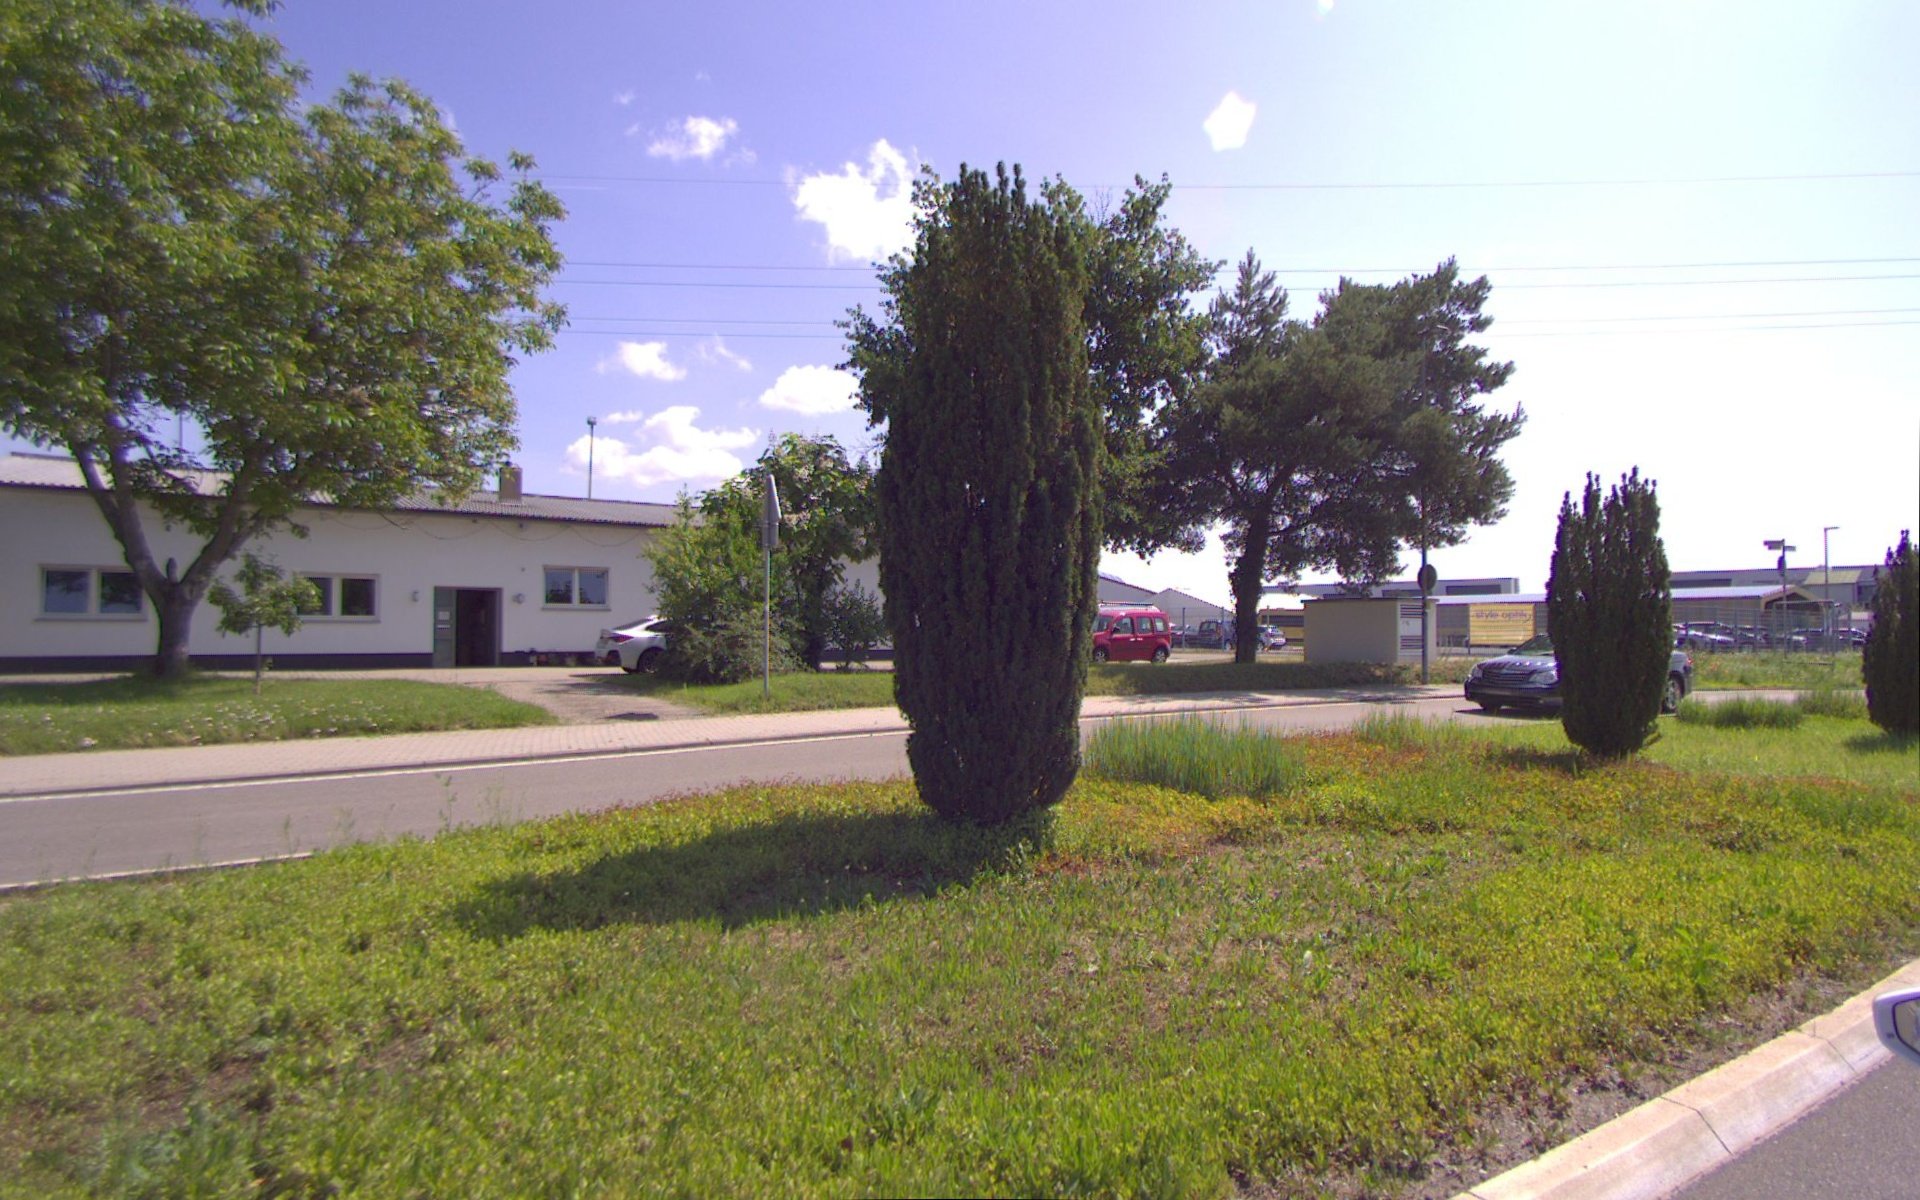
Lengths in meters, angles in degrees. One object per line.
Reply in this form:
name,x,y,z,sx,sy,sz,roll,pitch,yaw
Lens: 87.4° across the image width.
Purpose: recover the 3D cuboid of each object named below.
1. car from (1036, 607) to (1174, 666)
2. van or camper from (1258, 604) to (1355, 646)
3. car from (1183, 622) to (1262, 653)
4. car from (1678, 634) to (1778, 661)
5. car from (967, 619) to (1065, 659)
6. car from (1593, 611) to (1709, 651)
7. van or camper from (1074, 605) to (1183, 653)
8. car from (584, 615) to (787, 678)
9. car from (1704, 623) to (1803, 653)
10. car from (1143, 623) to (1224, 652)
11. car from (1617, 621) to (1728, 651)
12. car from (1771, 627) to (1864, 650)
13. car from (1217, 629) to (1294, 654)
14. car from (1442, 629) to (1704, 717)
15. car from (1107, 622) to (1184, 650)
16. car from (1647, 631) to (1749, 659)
car,4.678,1.166,32.177,4.187,1.767,1.981,2,-2,-35
van or camper,20.623,1.481,59.897,5.243,2.406,1.892,-1,-2,28
car,13.110,1.852,50.084,3.966,1.452,1.904,1,-2,-39
car,40.385,2.490,52.944,3.929,1.327,1.939,-1,-2,30
car,2.258,1.568,41.300,1.919,1.545,3.957,1,-2,-38
car,30.588,1.384,44.605,4.034,1.727,1.721,-1,-2,28
van or camper,9.780,1.680,58.024,6.698,2.634,1.982,1,-2,-34
car,-6.791,1.144,25.044,4.474,1.426,1.980,2,-2,-36
car,43.397,2.048,55.035,3.927,1.560,1.940,0,-1,28
car,11.659,1.962,52.324,3.958,1.452,1.908,1,-2,-33
car,32.920,1.662,46.540,3.927,1.327,1.940,-1,-2,28
car,51.657,2.285,60.583,3.927,1.327,1.940,0,-1,28
car,16.807,2.348,57.348,1.977,1.327,3.967,1,-2,-31
car,11.126,1.252,18.172,4.804,1.412,1.892,1,-2,-28
car,10.090,1.958,54.637,3.958,1.452,1.908,1,-2,-33
car,37.513,2.287,51.194,3.927,1.327,1.940,0,-1,28
